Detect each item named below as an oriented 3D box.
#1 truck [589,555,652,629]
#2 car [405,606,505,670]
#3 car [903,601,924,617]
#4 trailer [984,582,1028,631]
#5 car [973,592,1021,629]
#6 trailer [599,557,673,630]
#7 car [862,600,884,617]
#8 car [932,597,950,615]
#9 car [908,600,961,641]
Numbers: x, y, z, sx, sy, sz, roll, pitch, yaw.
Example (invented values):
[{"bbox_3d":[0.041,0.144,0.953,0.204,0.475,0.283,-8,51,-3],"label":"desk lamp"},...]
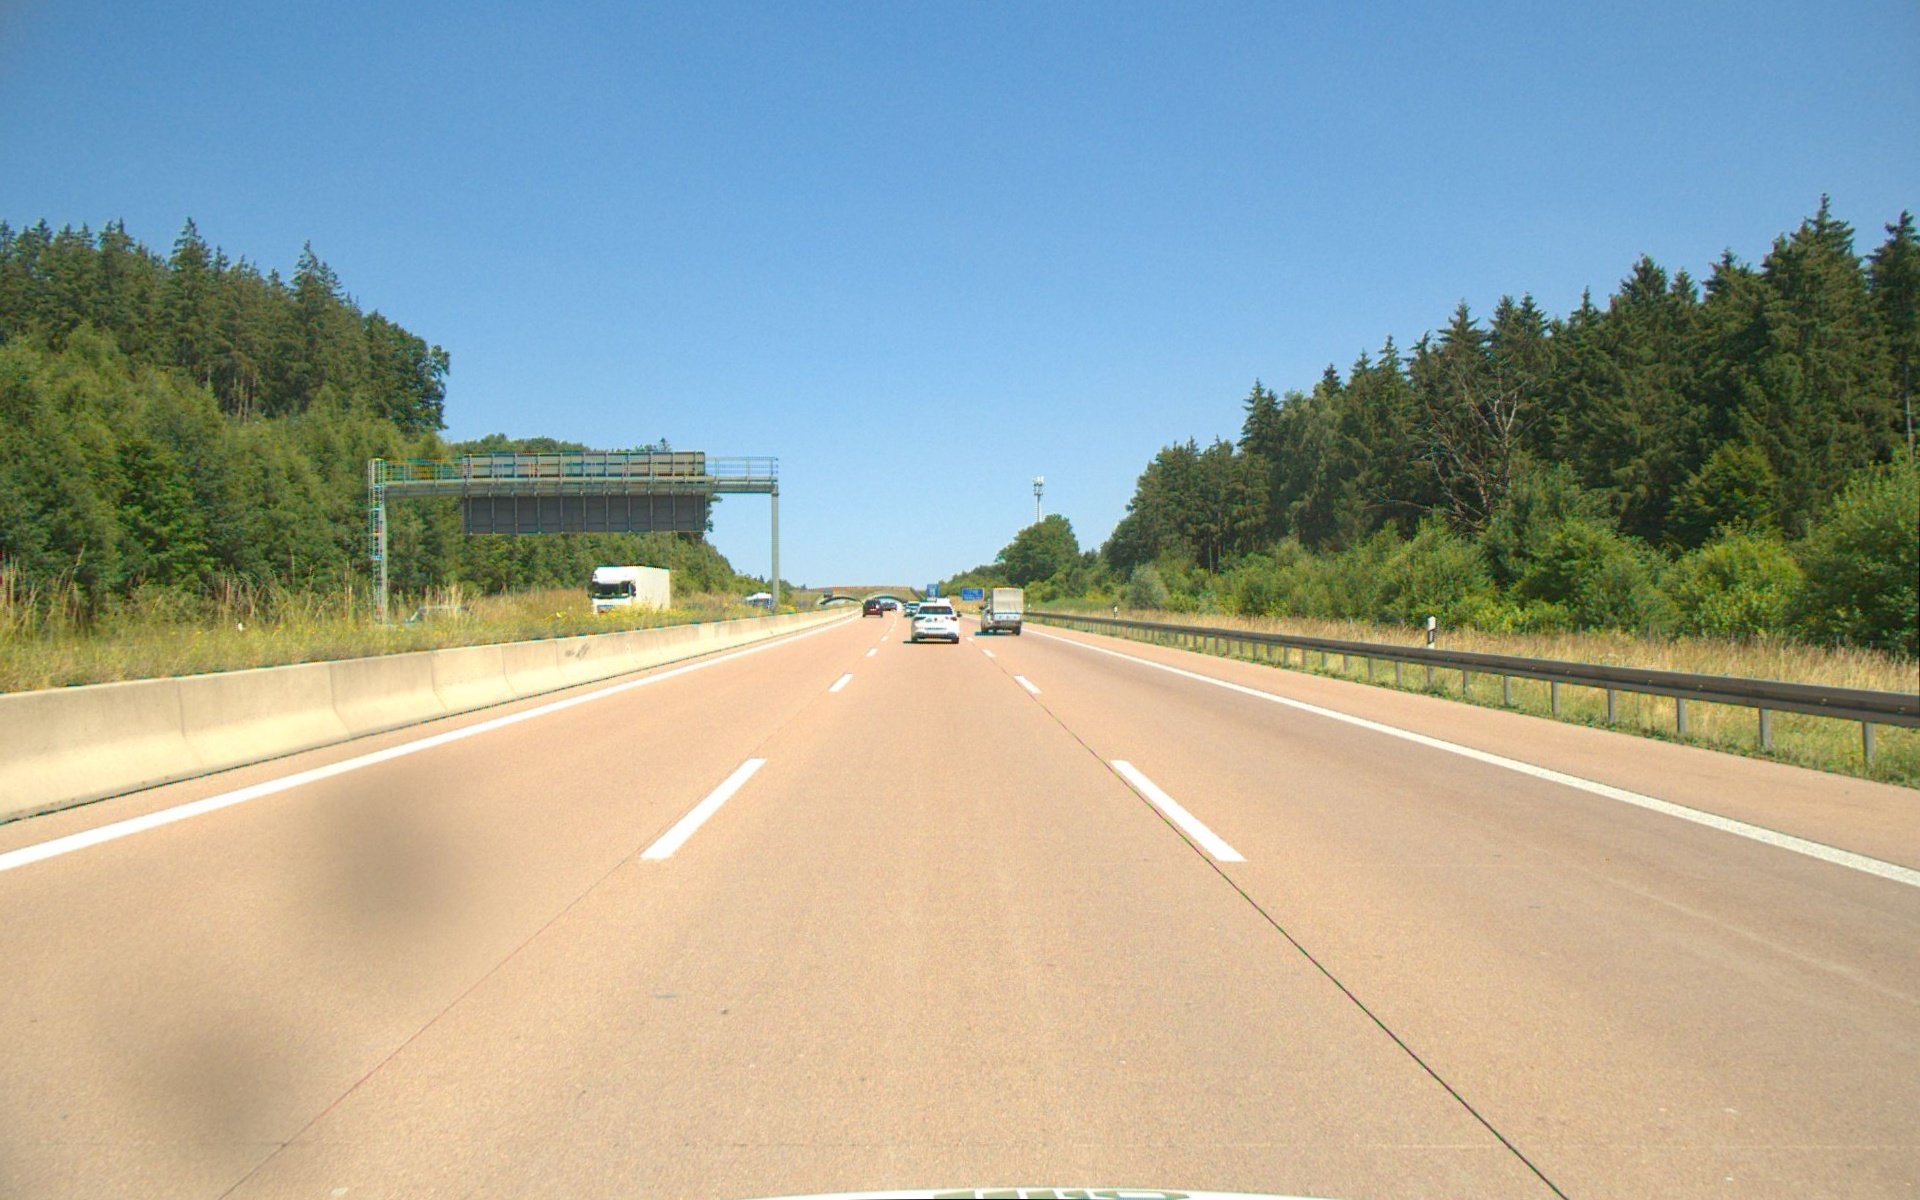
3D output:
[{"bbox_3d":[-21.241,-0.503,103.791,2.648,4.457,6.476,0,0,-1],"label":"truck"},{"bbox_3d":[-16.005,1.161,52.684,1.853,1.895,5.100,0,0,-3],"label":"car"},{"bbox_3d":[-4.438,0.835,157.188,1.853,1.489,3.998,0,0,-2],"label":"car"},{"bbox_3d":[2.076,0.314,75.632,1.625,2.202,4.012,0,-1,-4],"label":"trailer"},{"bbox_3d":[1.748,0.506,80.165,1.853,1.758,5.181,0,0,-4],"label":"car"},{"bbox_3d":[-21.436,-0.412,110.254,2.648,4.512,13.188,0,0,-1],"label":"trailer"},{"bbox_3d":[-8.032,0.754,152.567,1.852,1.489,3.999,0,0,-1],"label":"car"},{"bbox_3d":[-2.171,0.664,187.374,2.067,2.090,3.999,0,0,-1],"label":"car"},{"bbox_3d":[-0.917,0.719,60.163,1.852,1.422,3.999,1,0,-1],"label":"car"}]
